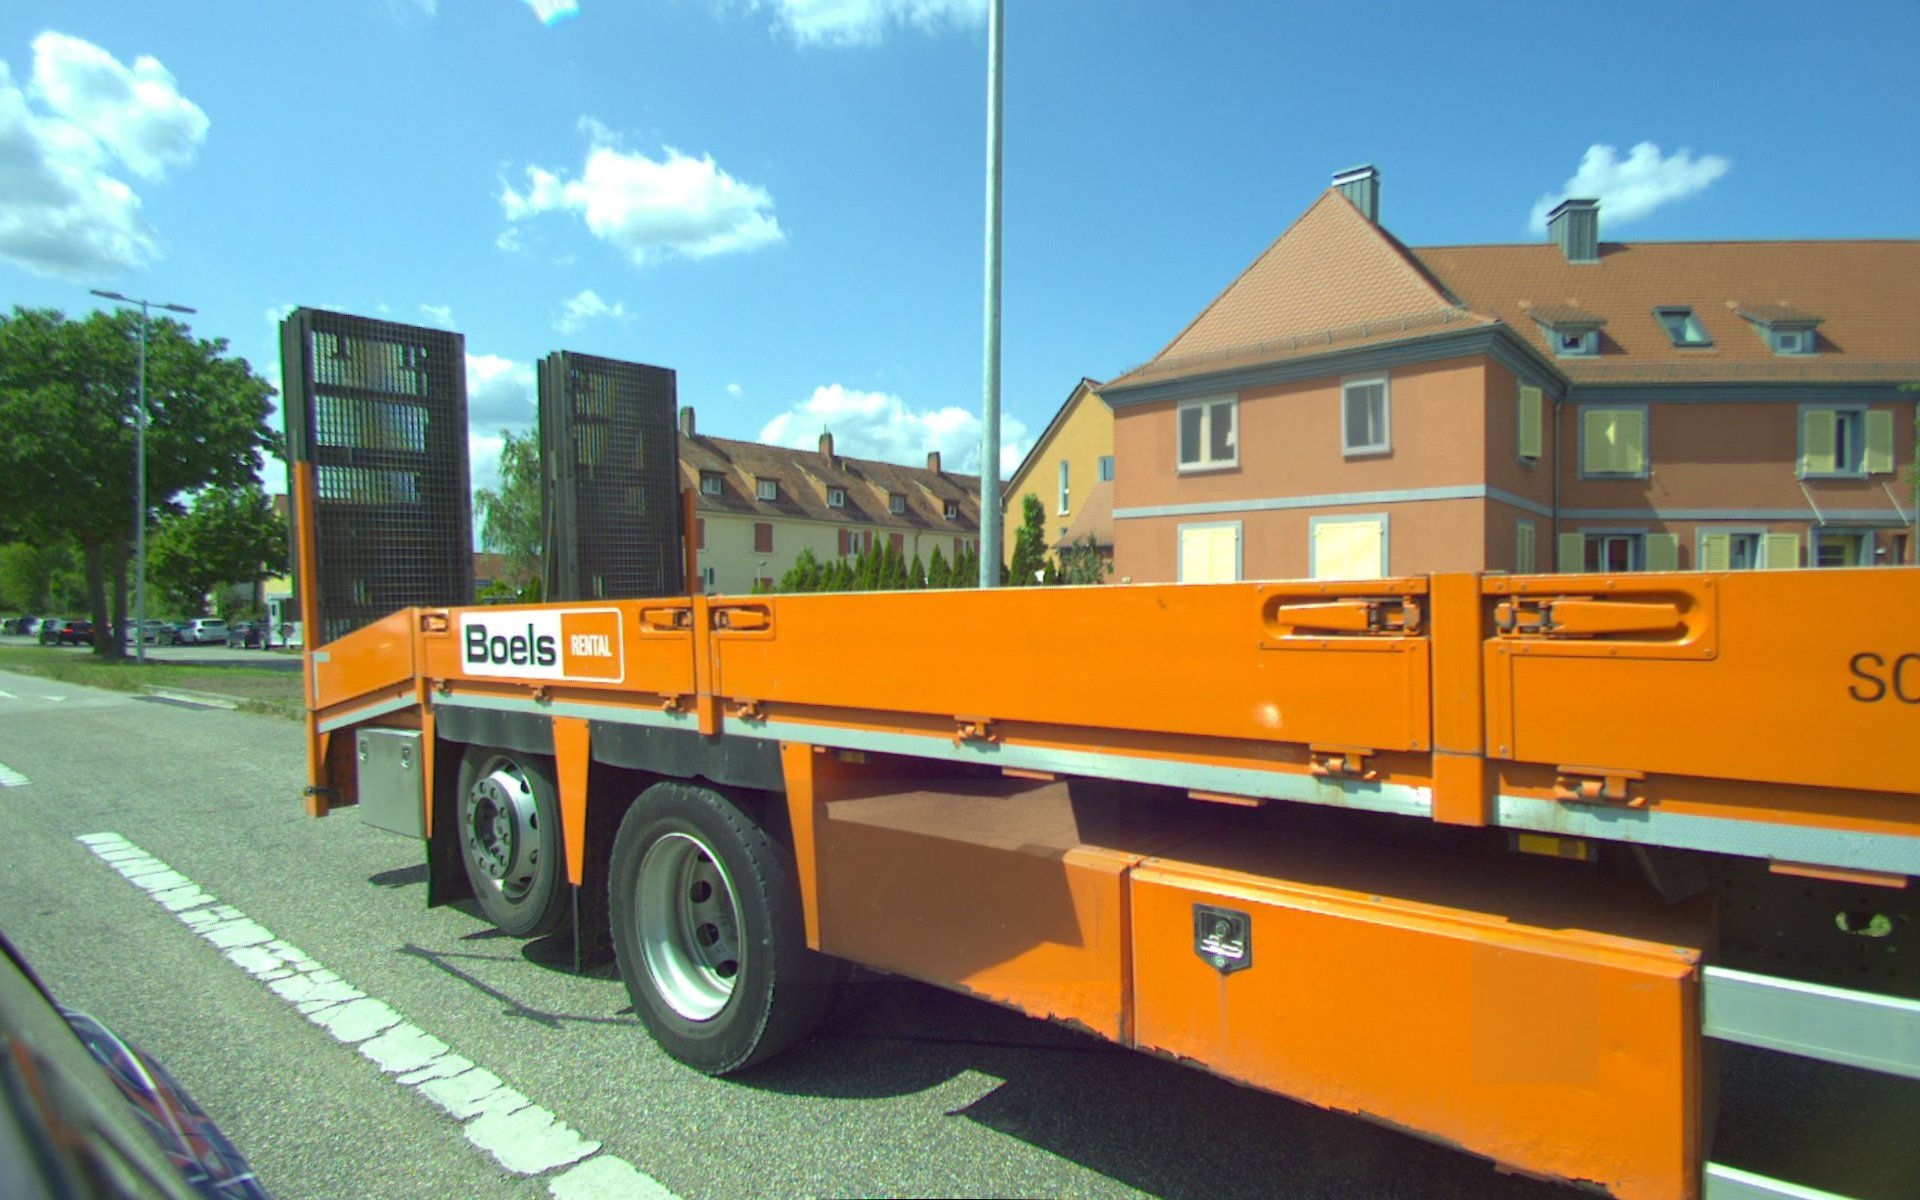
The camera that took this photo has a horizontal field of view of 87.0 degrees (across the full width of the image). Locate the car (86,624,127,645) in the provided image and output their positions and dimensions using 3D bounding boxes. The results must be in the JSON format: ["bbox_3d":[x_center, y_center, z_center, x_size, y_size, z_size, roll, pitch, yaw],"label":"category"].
[{"bbox_3d":[-61.660,2.500,73.087,4.350,1.405,1.389,-1,1,38],"label":"car"}]

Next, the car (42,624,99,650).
[{"bbox_3d":[-51.886,2.128,58.980,4.571,1.449,1.754,0,-1,39],"label":"car"}]

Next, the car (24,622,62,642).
[{"bbox_3d":[-77.409,2.691,85.454,3.840,1.462,1.645,0,2,37],"label":"car"}]

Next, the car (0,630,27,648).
[{"bbox_3d":[-88.233,3.628,94.030,3.529,1.472,1.579,0,2,37],"label":"car"}]

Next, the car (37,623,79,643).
[{"bbox_3d":[-72.002,2.650,80.763,4.096,1.492,1.645,-1,1,37],"label":"car"}]

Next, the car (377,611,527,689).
[{"bbox_3d":[-12.185,1.140,24.192,3.997,1.702,1.776,-1,-1,40],"label":"car"}]

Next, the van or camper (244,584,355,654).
[{"bbox_3d":[-32.342,0.940,49.454,7.310,3.135,2.237,-2,1,38],"label":"van or camper"}]

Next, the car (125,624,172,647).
[{"bbox_3d":[-53.283,2.304,66.434,4.527,1.380,1.496,-1,1,40],"label":"car"}]

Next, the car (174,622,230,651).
[{"bbox_3d":[-44.323,2.120,59.172,4.120,1.496,1.672,0,2,40],"label":"car"}]

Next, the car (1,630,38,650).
[{"bbox_3d":[-83.547,3.543,89.927,4.307,1.624,1.645,0,2,37],"label":"car"}]

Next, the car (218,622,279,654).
[{"bbox_3d":[-37.790,1.967,53.717,3.989,1.496,1.620,0,2,40],"label":"car"}]

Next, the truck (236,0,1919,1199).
[{"bbox_3d":[1.180,-0.401,3.255,11.060,3.439,3.040,0,2,40],"label":"truck"}]
